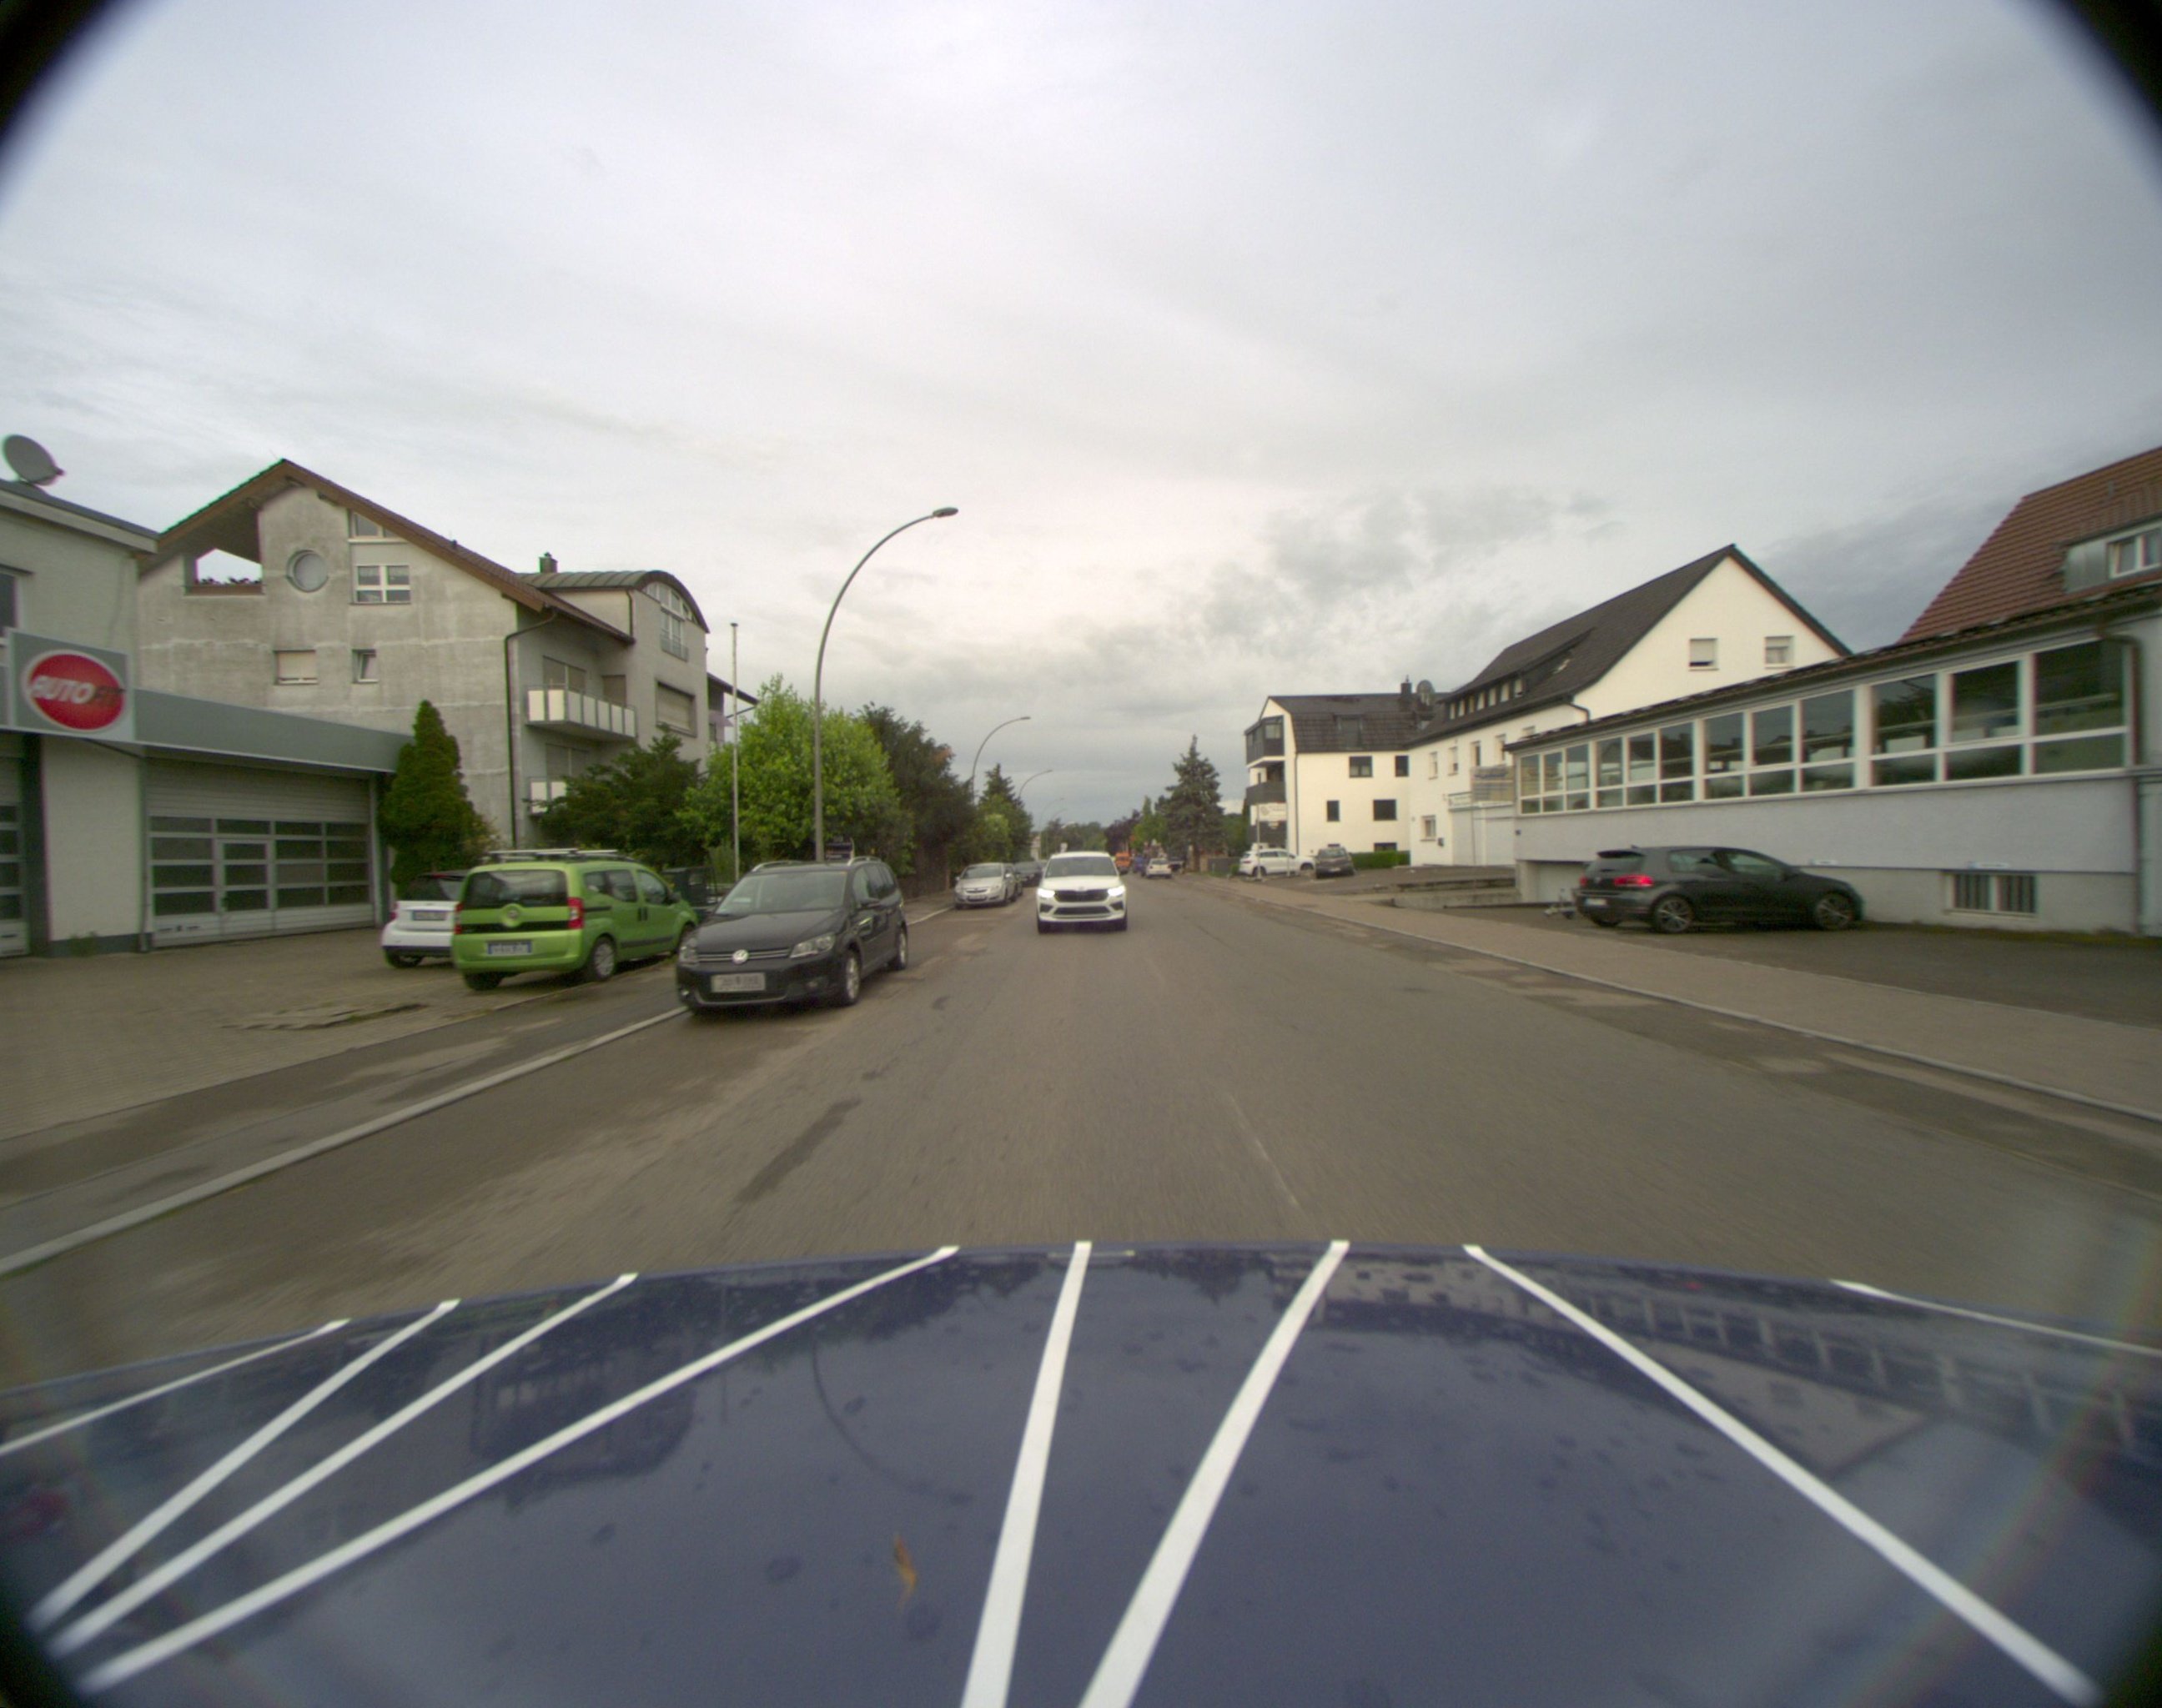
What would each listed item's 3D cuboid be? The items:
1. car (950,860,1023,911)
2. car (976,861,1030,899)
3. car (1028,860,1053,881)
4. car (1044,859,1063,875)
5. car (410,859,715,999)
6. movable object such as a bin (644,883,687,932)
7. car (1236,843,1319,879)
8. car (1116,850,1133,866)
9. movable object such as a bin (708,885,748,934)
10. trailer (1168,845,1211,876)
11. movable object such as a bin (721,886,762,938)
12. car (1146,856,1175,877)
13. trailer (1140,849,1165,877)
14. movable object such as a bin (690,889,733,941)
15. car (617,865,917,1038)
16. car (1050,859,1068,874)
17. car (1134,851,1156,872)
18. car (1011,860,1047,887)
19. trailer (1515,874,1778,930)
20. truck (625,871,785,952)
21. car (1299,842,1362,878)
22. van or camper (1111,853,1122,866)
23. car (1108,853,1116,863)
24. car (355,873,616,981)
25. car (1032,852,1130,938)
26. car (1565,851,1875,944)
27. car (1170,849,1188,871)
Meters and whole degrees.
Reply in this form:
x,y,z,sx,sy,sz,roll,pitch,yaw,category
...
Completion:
x,y,z,sx,sy,sz,roll,pitch,yaw,category
-3.127,1.004,25.885,1.741,1.493,3.882,-3,0,2,car
-3.193,1.032,31.578,1.742,1.394,3.718,-3,0,1,car
-2.854,1.149,53.995,1.657,1.431,4.043,-1,0,-1,car
-2.690,1.243,74.640,1.677,1.455,3.690,-3,0,1,car
-7.411,0.949,11.477,1.999,1.673,3.999,-1,0,-4,car
-9.465,1.206,17.322,0.576,1.069,0.682,-1,1,0,movable object such as a bin
10.949,0.395,42.575,3.997,1.637,2.000,-5,0,-1,car
6.443,0.613,112.648,2.264,2.275,4.531,1,0,0,car
-8.095,1.264,17.426,0.576,1.069,0.682,-1,1,0,movable object such as a bin
11.141,0.636,78.278,4.059,3.029,2.168,-2,1,1,trailer
-7.457,1.269,16.698,0.576,1.069,0.682,-1,1,0,movable object such as a bin
5.846,0.910,56.300,1.740,1.496,3.871,-1,0,1,car
5.869,0.702,62.750,1.721,2.114,4.007,-2,0,1,trailer
-8.095,1.331,16.663,0.576,1.069,0.682,-1,1,0,movable object such as a bin
-3.424,0.957,9.257,1.999,1.586,4.000,-1,0,-1,car
-2.335,1.313,80.347,1.677,1.455,3.551,-3,0,1,car
6.762,0.806,80.750,1.998,2.112,4.755,-1,0,2,car
-2.956,1.105,44.107,1.756,1.410,4.110,-1,0,1,car
11.692,0.968,15.910,4.208,0.937,1.794,-1,0,-2,trailer
-7.524,1.142,15.306,2.559,1.520,1.327,-1,-2,8,truck
12.277,0.277,37.685,1.824,1.521,4.001,-7,0,3,car
6.703,0.977,143.956,1.811,2.328,4.000,-2,0,2,van or camper
7.232,0.986,178.829,1.659,2.220,3.744,-2,1,1,car
-10.102,1.149,13.317,1.752,1.510,3.731,2,0,-3,car
0.037,0.815,17.246,1.884,1.650,4.831,-1,0,1,car
10.881,0.703,13.141,3.883,1.430,1.768,-1,0,0,car
10.893,0.634,84.561,1.569,2.392,3.595,-1,0,2,car
